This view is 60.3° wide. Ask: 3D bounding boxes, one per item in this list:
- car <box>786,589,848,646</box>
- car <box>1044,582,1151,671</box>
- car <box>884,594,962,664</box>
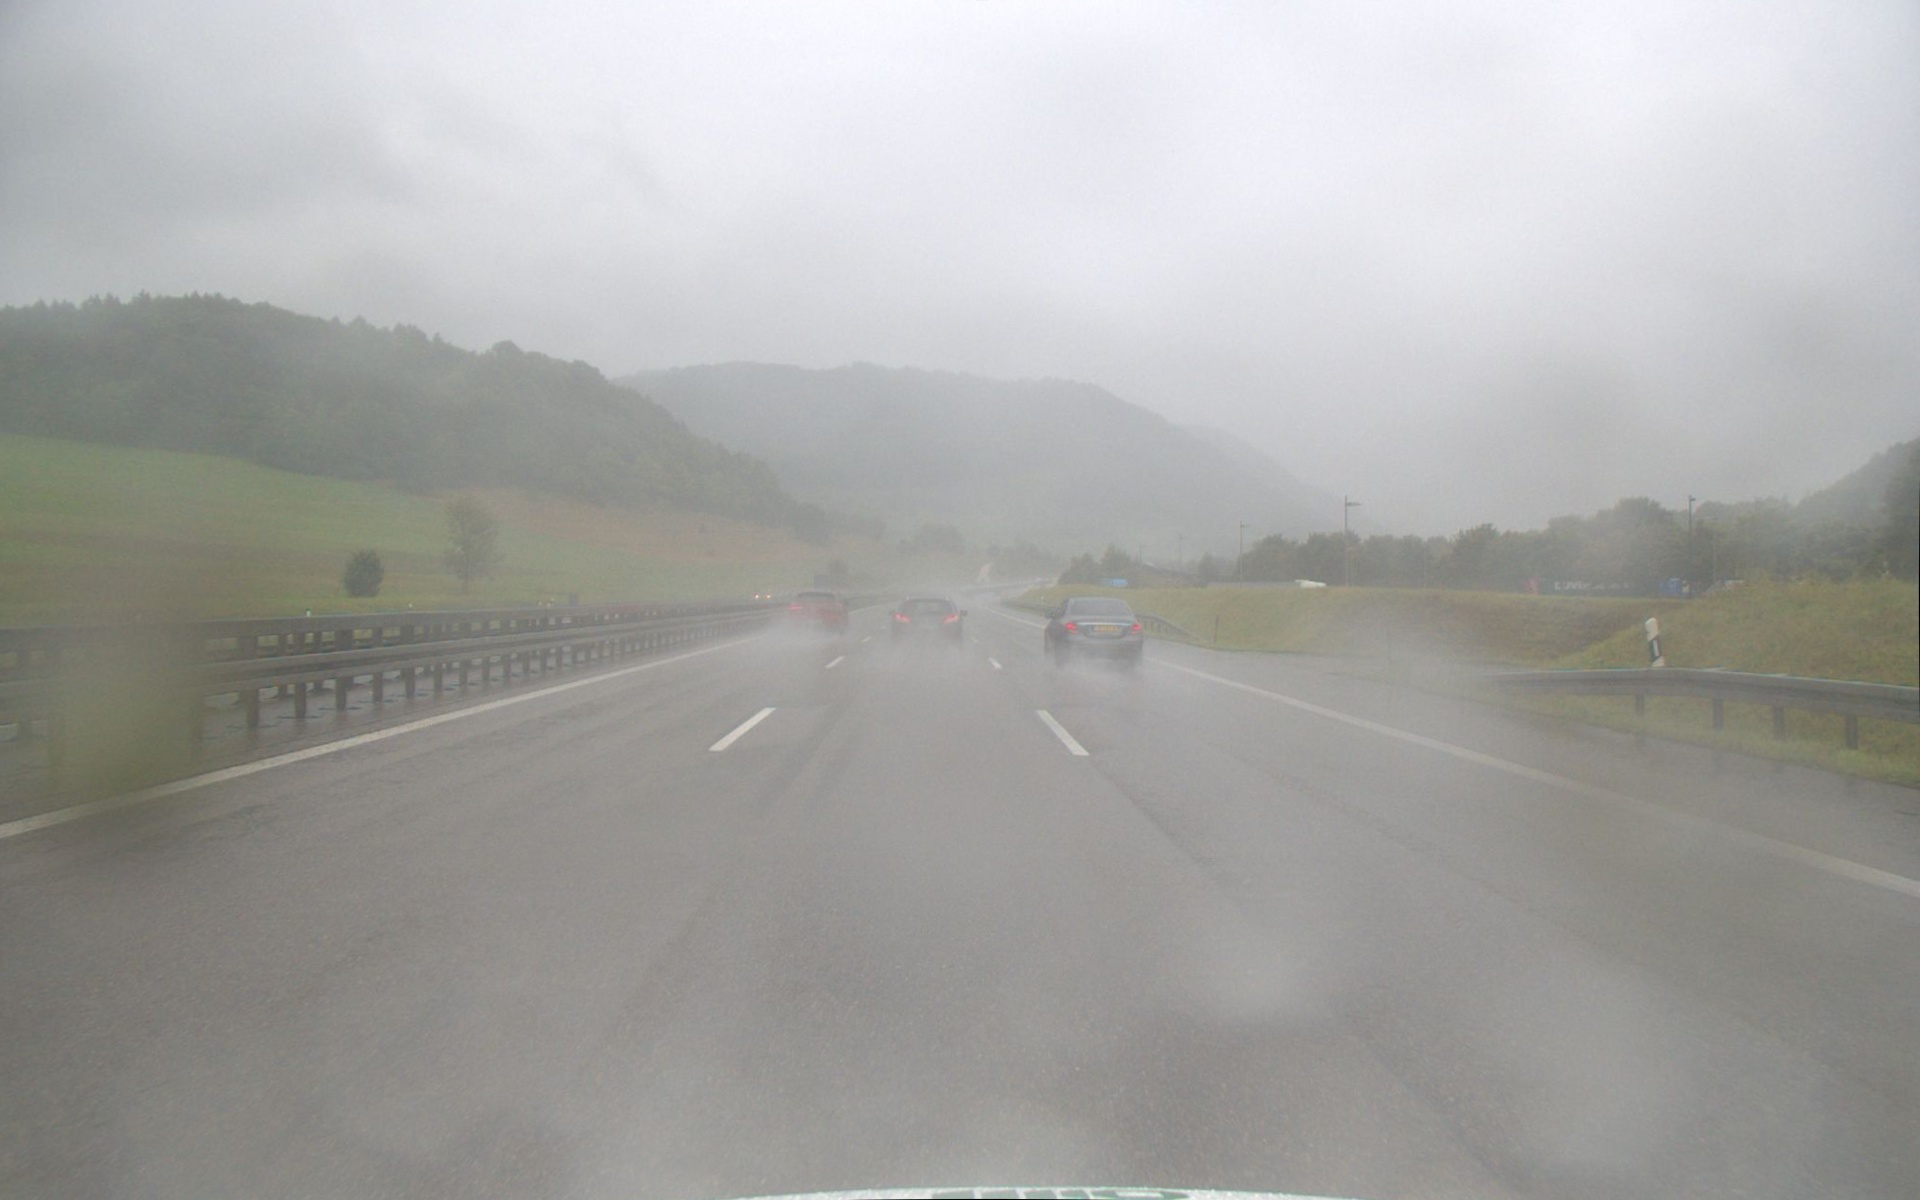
[{"bbox_3d":[-4.806,0.573,56.086,1.846,1.847,3.999,0,0,-1],"label":"car"},{"bbox_3d":[2.873,0.523,35.416,1.931,1.791,4.000,0,0,-1],"label":"car"},{"bbox_3d":[-0.891,0.677,41.043,1.821,1.617,3.999,1,0,-1],"label":"car"}]
